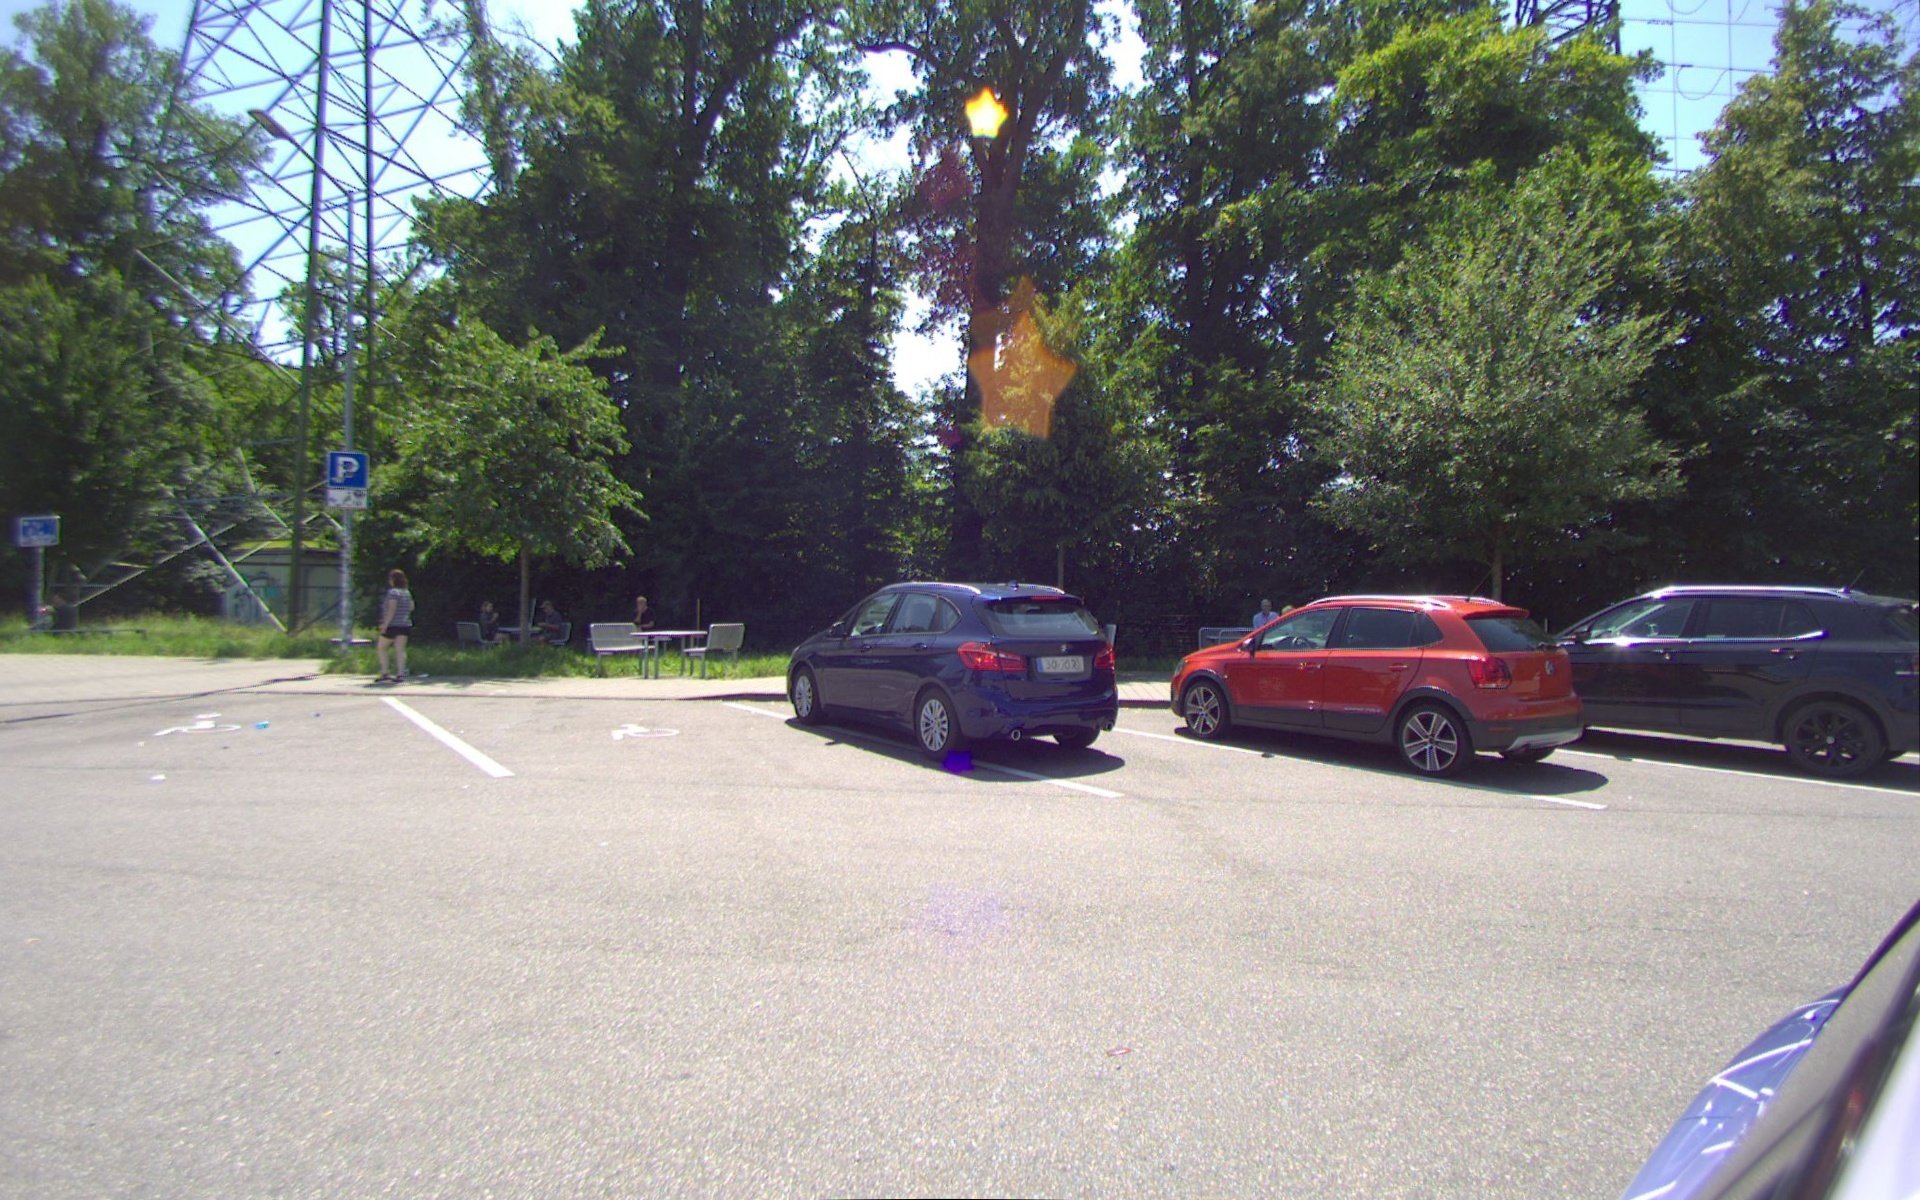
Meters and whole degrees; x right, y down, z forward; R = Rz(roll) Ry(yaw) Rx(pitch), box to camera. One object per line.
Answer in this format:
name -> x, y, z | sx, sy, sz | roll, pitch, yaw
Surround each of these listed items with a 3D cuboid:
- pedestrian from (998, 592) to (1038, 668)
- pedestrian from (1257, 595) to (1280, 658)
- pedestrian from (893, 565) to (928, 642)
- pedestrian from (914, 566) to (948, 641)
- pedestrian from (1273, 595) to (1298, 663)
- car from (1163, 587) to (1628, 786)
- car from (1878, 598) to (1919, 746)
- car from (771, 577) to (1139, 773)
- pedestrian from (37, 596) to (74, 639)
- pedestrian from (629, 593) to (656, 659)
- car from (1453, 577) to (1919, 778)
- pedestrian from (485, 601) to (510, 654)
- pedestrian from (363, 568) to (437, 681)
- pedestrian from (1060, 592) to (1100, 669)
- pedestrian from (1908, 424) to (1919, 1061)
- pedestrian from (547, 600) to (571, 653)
pedestrian -> 0.988, 0.497, 17.102 | 0.586, 1.261, 0.445 | 0, 0, 16
pedestrian -> 5.818, 0.494, 19.115 | 0.350, 1.180, 0.384 | 0, 0, 8
pedestrian -> -1.064, 0.078, 21.801 | 0.565, 1.625, 0.643 | 0, 0, 19
pedestrian -> -0.631, 0.069, 22.479 | 0.565, 1.625, 0.643 | 0, 0, 19
pedestrian -> 5.769, 0.505, 17.939 | 0.350, 1.180, 0.384 | 0, 0, 8
car -> 3.879, 0.634, 9.638 | 1.619, 1.487, 3.830 | 0, 0, -33
car -> 10.896, 0.703, 9.000 | 1.620, 1.420, 3.826 | 0, 0, -37
car -> -0.298, 0.555, 10.387 | 1.714, 1.572, 4.347 | 0, 1, -33
pedestrian -> -20.953, 0.394, 23.446 | 0.452, 0.987, 0.447 | 0, 0, -2
pedestrian -> -6.688, 0.545, 21.335 | 0.438, 1.363, 0.462 | 0, 0, -5
car -> 7.095, 0.592, 9.854 | 1.620, 1.575, 3.826 | 0, 0, -37
pedestrian -> -10.435, 0.613, 22.847 | 0.452, 1.182, 0.447 | 0, 0, -34
pedestrian -> -8.488, 0.357, 15.357 | 0.705, 1.670, 0.684 | 0, 0, 15
pedestrian -> 2.001, 0.494, 16.845 | 0.586, 1.261, 0.498 | 0, 0, 16
pedestrian -> 3.122, 0.450, 2.607 | 0.808, 1.974, 0.910 | 0, 0, 32
pedestrian -> -9.347, 0.614, 23.588 | 0.452, 1.209, 0.447 | 0, 0, -34
